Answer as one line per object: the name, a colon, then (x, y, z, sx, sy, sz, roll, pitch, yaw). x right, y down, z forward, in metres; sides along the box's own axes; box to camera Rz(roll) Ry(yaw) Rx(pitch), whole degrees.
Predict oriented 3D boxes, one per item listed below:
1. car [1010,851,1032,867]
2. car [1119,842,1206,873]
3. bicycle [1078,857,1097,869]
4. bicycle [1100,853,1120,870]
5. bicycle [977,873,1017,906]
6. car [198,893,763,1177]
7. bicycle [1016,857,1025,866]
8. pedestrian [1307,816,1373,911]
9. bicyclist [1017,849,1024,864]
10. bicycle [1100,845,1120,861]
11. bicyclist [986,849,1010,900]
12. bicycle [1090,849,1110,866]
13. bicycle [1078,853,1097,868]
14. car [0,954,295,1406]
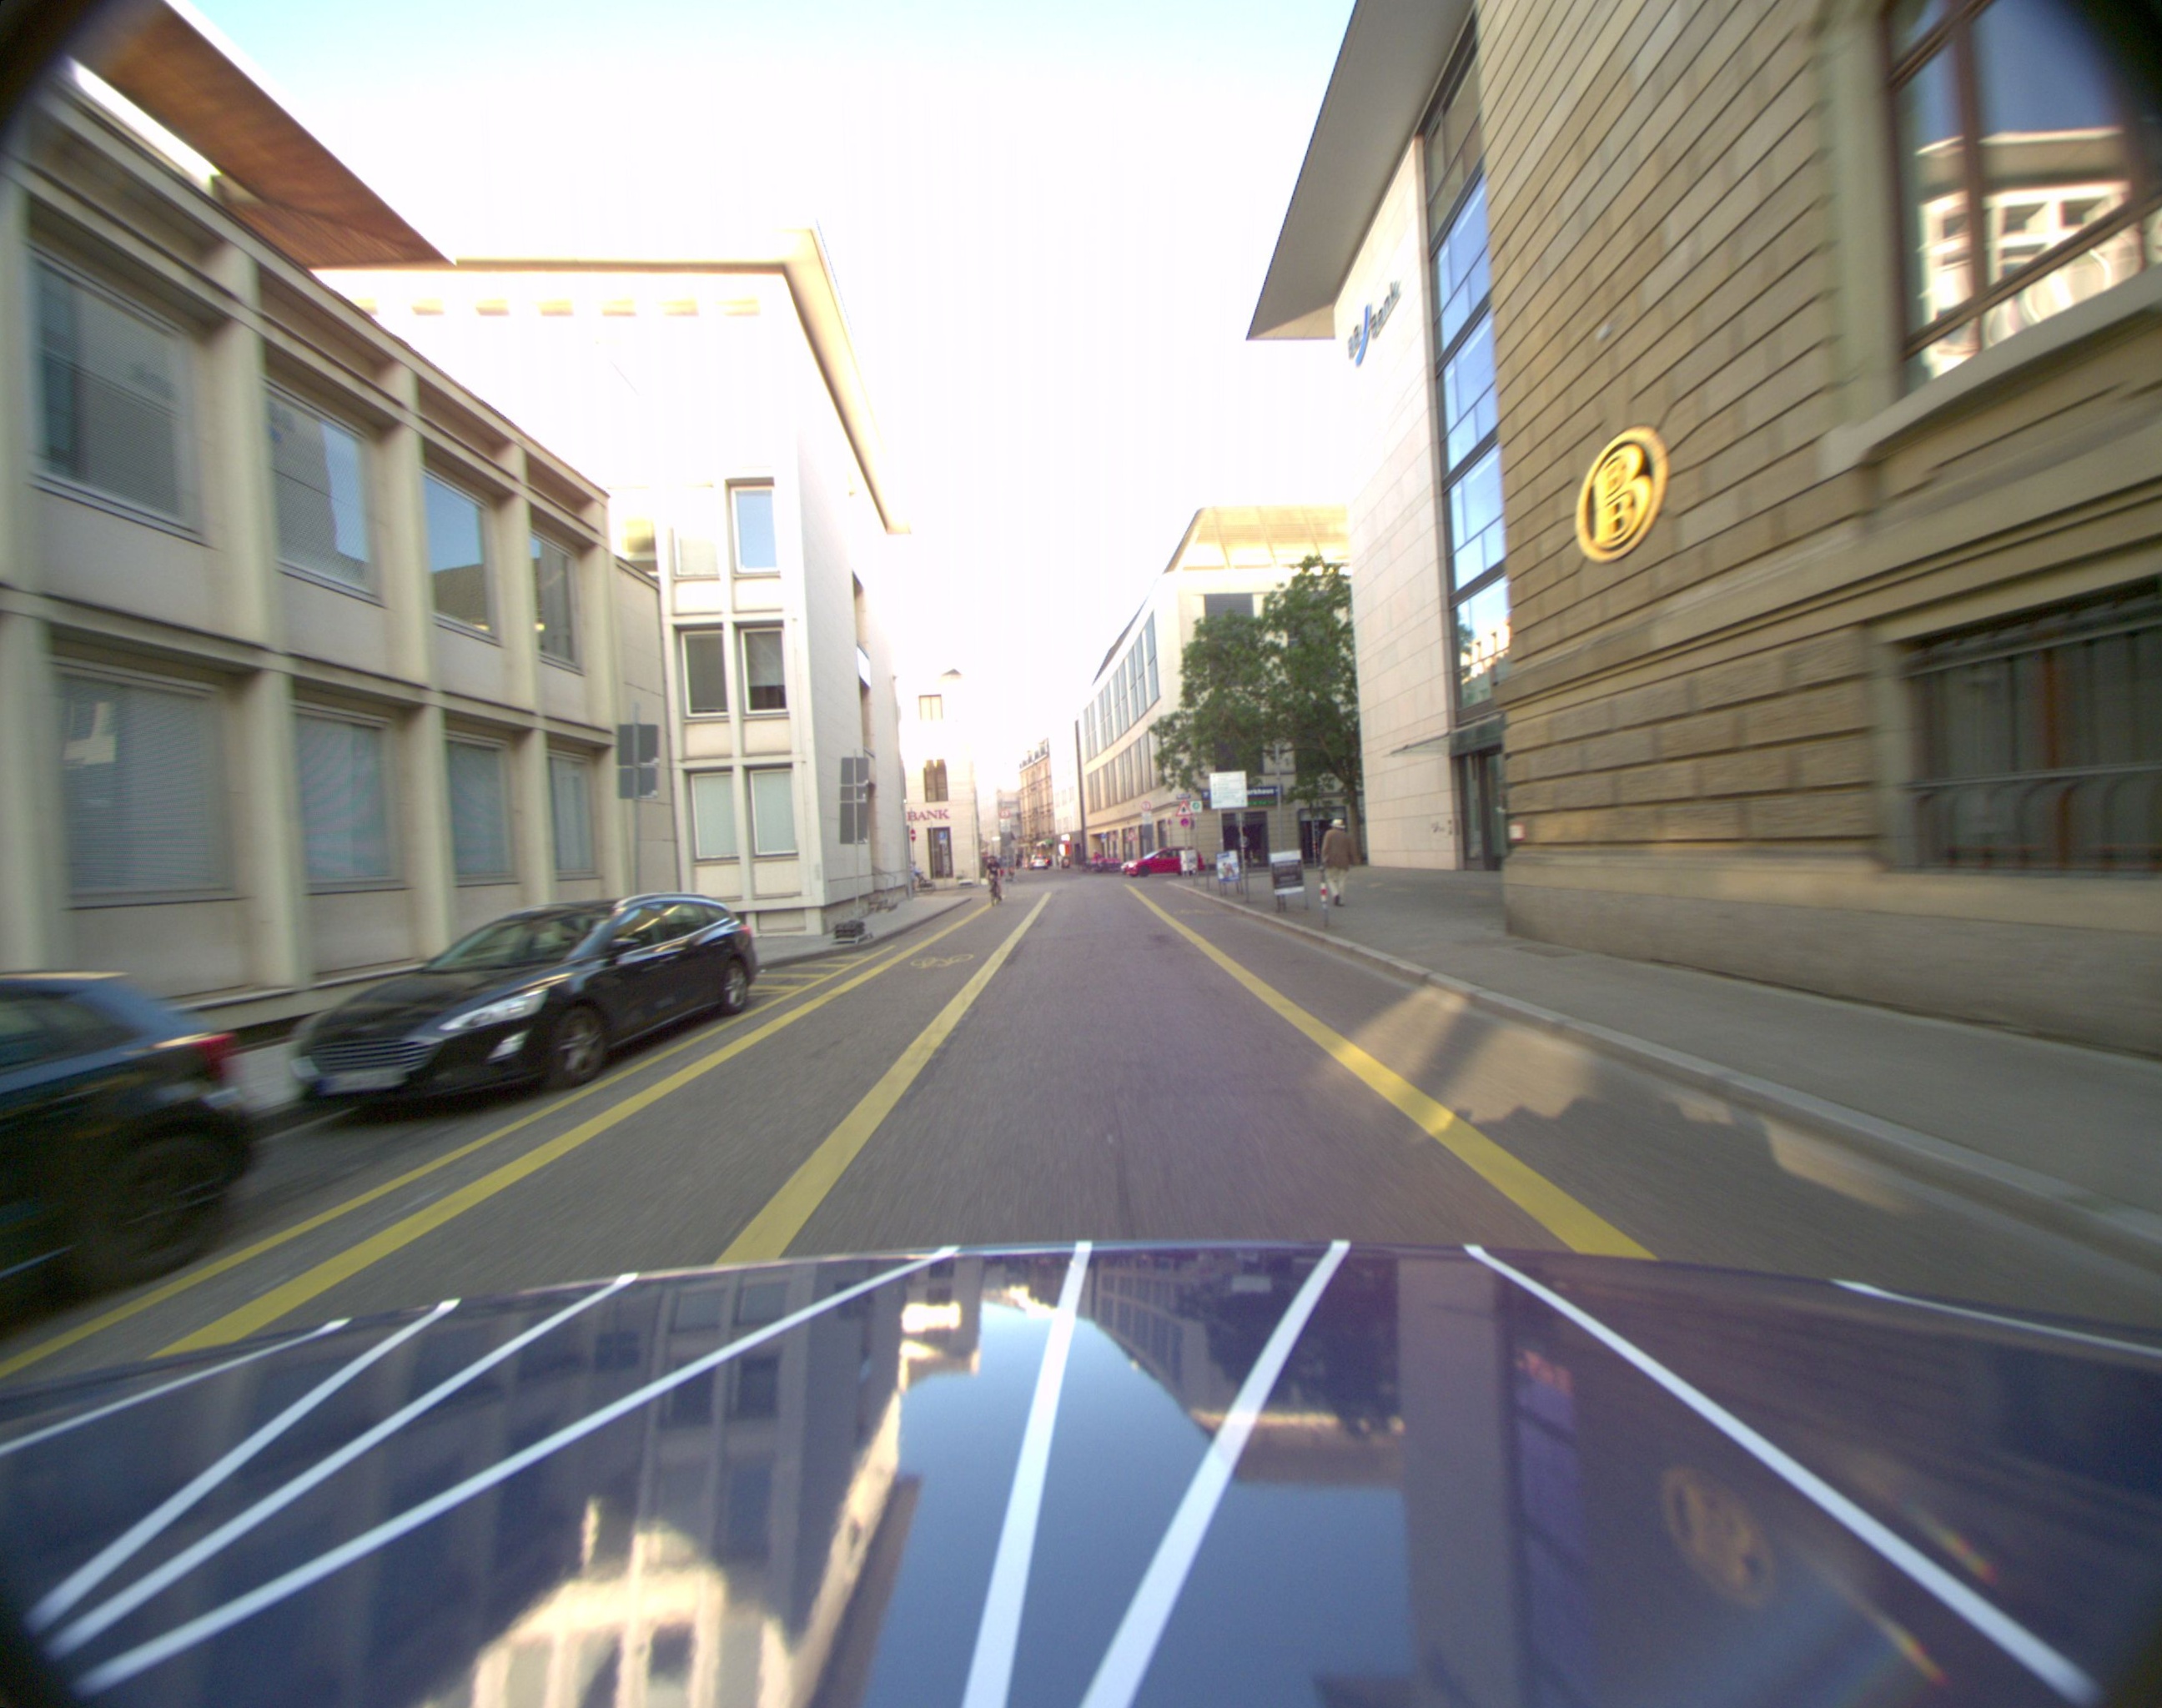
car: (-6.826, 0.531, 86.546, 2.177, 1.652, 3.996, -3, 2, -8)
car: (4.360, 0.188, 40.732, 4.264, 1.456, 1.826, -2, 1, -11)
bicycle: (0.527, 0.728, 62.959, 1.518, 0.947, 0.353, -3, 2, 0)
bicycle: (2.310, 0.571, 59.928, 1.518, 1.243, 0.353, -3, 2, -1)
bicycle: (-2.883, 1.226, 26.233, 0.510, 0.968, 1.822, -2, 2, 22)
car: (-4.840, 1.300, 7.138, 1.787, 1.471, 4.288, -5, 0, 0)
bicycle: (-6.834, 0.832, 85.567, 0.519, 0.989, 2.105, -4, 2, -19)
pedestrian: (5.286, 0.172, 15.574, 0.843, 1.790, 1.073, -7, 2, 3)
bicyclist: (-6.801, 0.241, 85.369, 0.498, 1.616, 0.631, -4, 2, -19)
bicycle: (2.411, -0.064, 63.165, 1.516, 1.243, 0.353, -3, 2, 12)
bicyclist: (-2.872, 0.694, 26.331, 0.500, 1.722, 0.552, -2, 2, 23)
bicycle: (1.526, 0.295, 60.819, 1.516, 1.243, 0.353, -3, 2, 12)
bicycle: (0.577, 0.541, 64.128, 1.517, 1.243, 0.353, -3, 2, 3)
car: (-4.809, 1.351, 1.563, 1.785, 1.471, 4.287, -5, 2, 0)
